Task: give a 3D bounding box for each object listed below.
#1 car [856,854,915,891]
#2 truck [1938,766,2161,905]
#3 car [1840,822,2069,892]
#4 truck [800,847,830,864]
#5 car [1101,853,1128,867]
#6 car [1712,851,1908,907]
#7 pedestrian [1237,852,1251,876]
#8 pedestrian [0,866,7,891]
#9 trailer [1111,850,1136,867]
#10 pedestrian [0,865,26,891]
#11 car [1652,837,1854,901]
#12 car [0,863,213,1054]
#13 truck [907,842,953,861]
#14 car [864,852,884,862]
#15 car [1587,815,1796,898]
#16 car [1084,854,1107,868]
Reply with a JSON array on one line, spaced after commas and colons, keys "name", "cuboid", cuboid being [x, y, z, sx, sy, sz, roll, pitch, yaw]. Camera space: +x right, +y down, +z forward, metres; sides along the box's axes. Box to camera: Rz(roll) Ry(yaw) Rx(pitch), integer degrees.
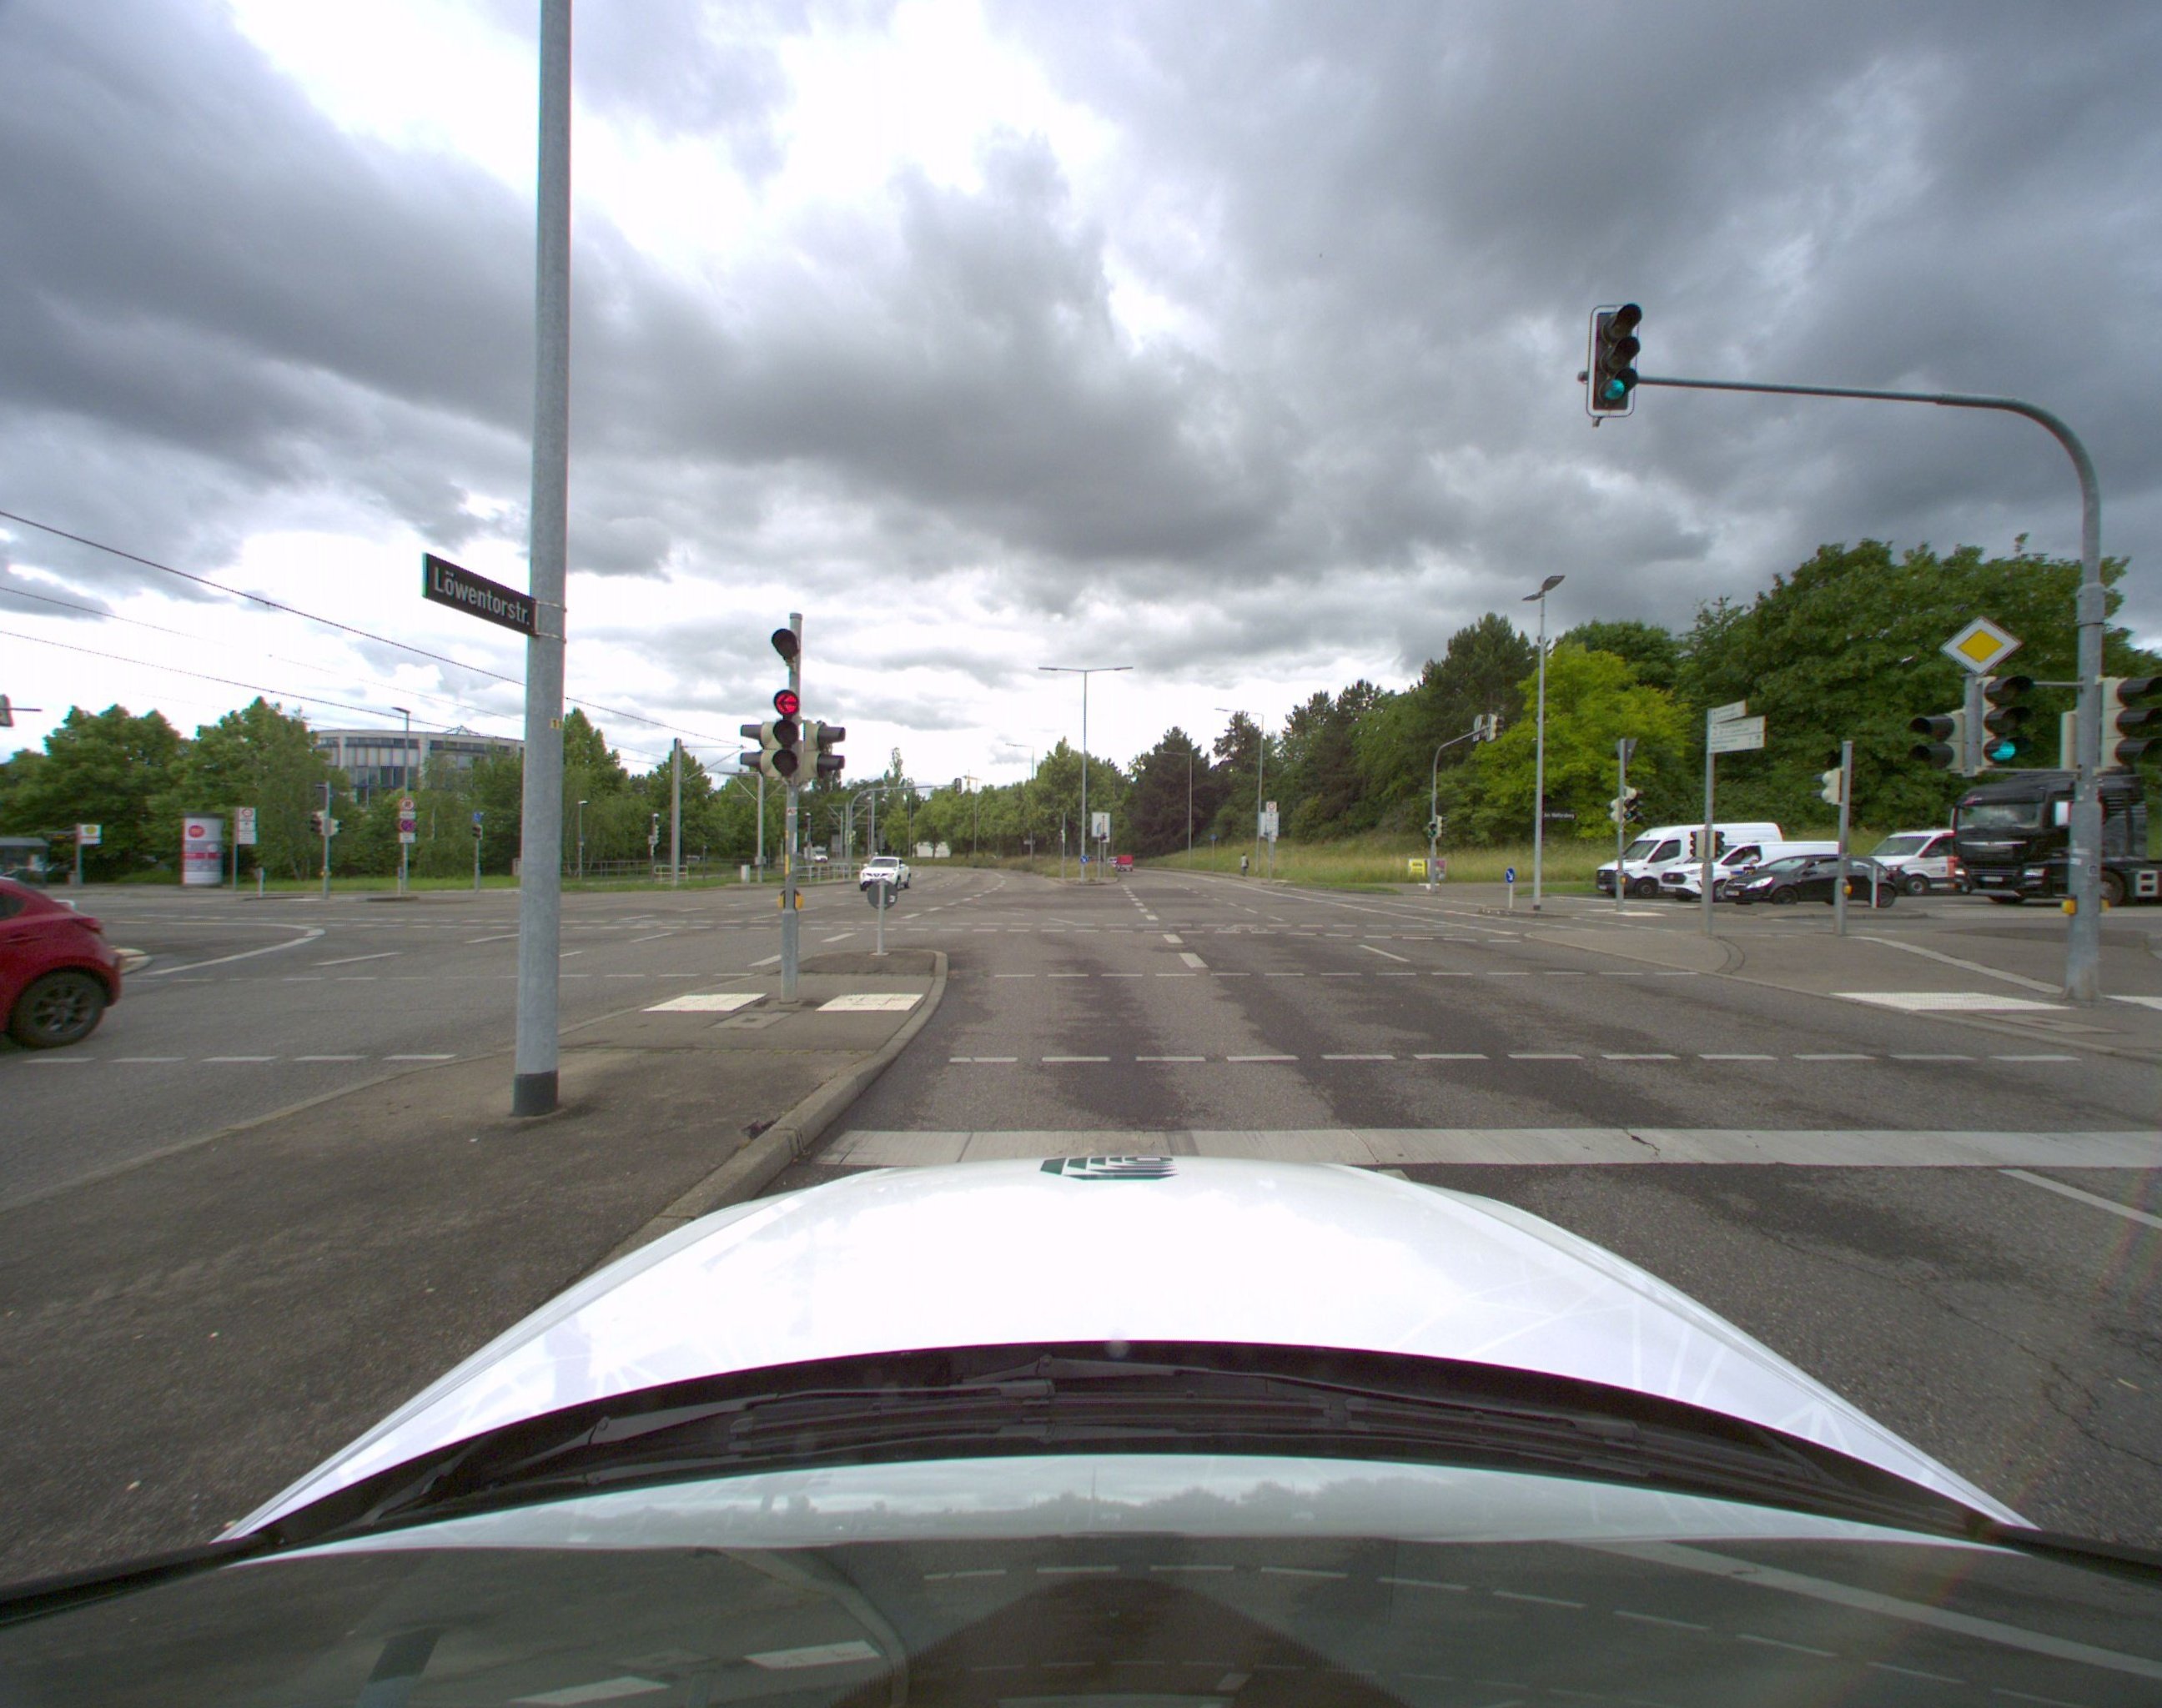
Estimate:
[{"name": "car", "cuboid": [-9.218, 0.830, 38.696, 1.824, 1.629, 4.422, -1, 0, -2]}, {"name": "truck", "cuboid": [27.930, -0.513, 22.266, 6.027, 3.538, 2.729, -1, 0, 2]}, {"name": "car", "cuboid": [30.678, 0.111, 28.760, 5.677, 2.289, 2.136, -1, 0, 2]}, {"name": "truck", "cuboid": [-48.845, 0.252, 149.268, 5.823, 3.135, 2.136, -1, -1, 35]}, {"name": "car", "cuboid": [3.483, 0.564, 85.582, 1.780, 1.421, 4.439, -1, 0, -13]}, {"name": "car", "cuboid": [20.275, 0.670, 22.769, 3.905, 1.436, 1.732, -1, 0, 1]}, {"name": "pedestrian", "cuboid": [11.364, 0.685, 56.698, 0.811, 1.627, 0.791, 0, 0, 1]}, {"name": "pedestrian", "cuboid": [-57.762, 1.292, 43.207, 0.774, 1.303, 0.666, 0, 0, 15]}, {"name": "trailer", "cuboid": [4.301, 0.457, 81.946, 1.766, 1.616, 3.031, 0, 0, -13]}, {"name": "pedestrian", "cuboid": [-56.394, 1.262, 42.965, 0.774, 1.304, 0.666, 0, 0, 15]}, {"name": "car", "cuboid": [21.587, 0.459, 26.326, 4.836, 1.896, 2.034, -1, 0, 1]}, {"name": "car", "cuboid": [-9.136, 0.828, 5.536, 1.776, 1.443, 4.422, -1, 0, -2]}, {"name": "truck", "cuboid": [-27.244, -0.448, 146.337, 2.763, 3.328, 11.271, -1, 0, -41]}, {"name": "car", "cuboid": [-40.632, 0.571, 159.869, 3.949, 2.014, 2.012, -1, -1, 42]}, {"name": "car", "cuboid": [21.893, 0.096, 29.406, 5.870, 2.781, 2.136, -1, 0, 2]}, {"name": "car", "cuboid": [1.653, 0.790, 95.363, 1.779, 1.546, 4.008, -1, 0, -12]}]
